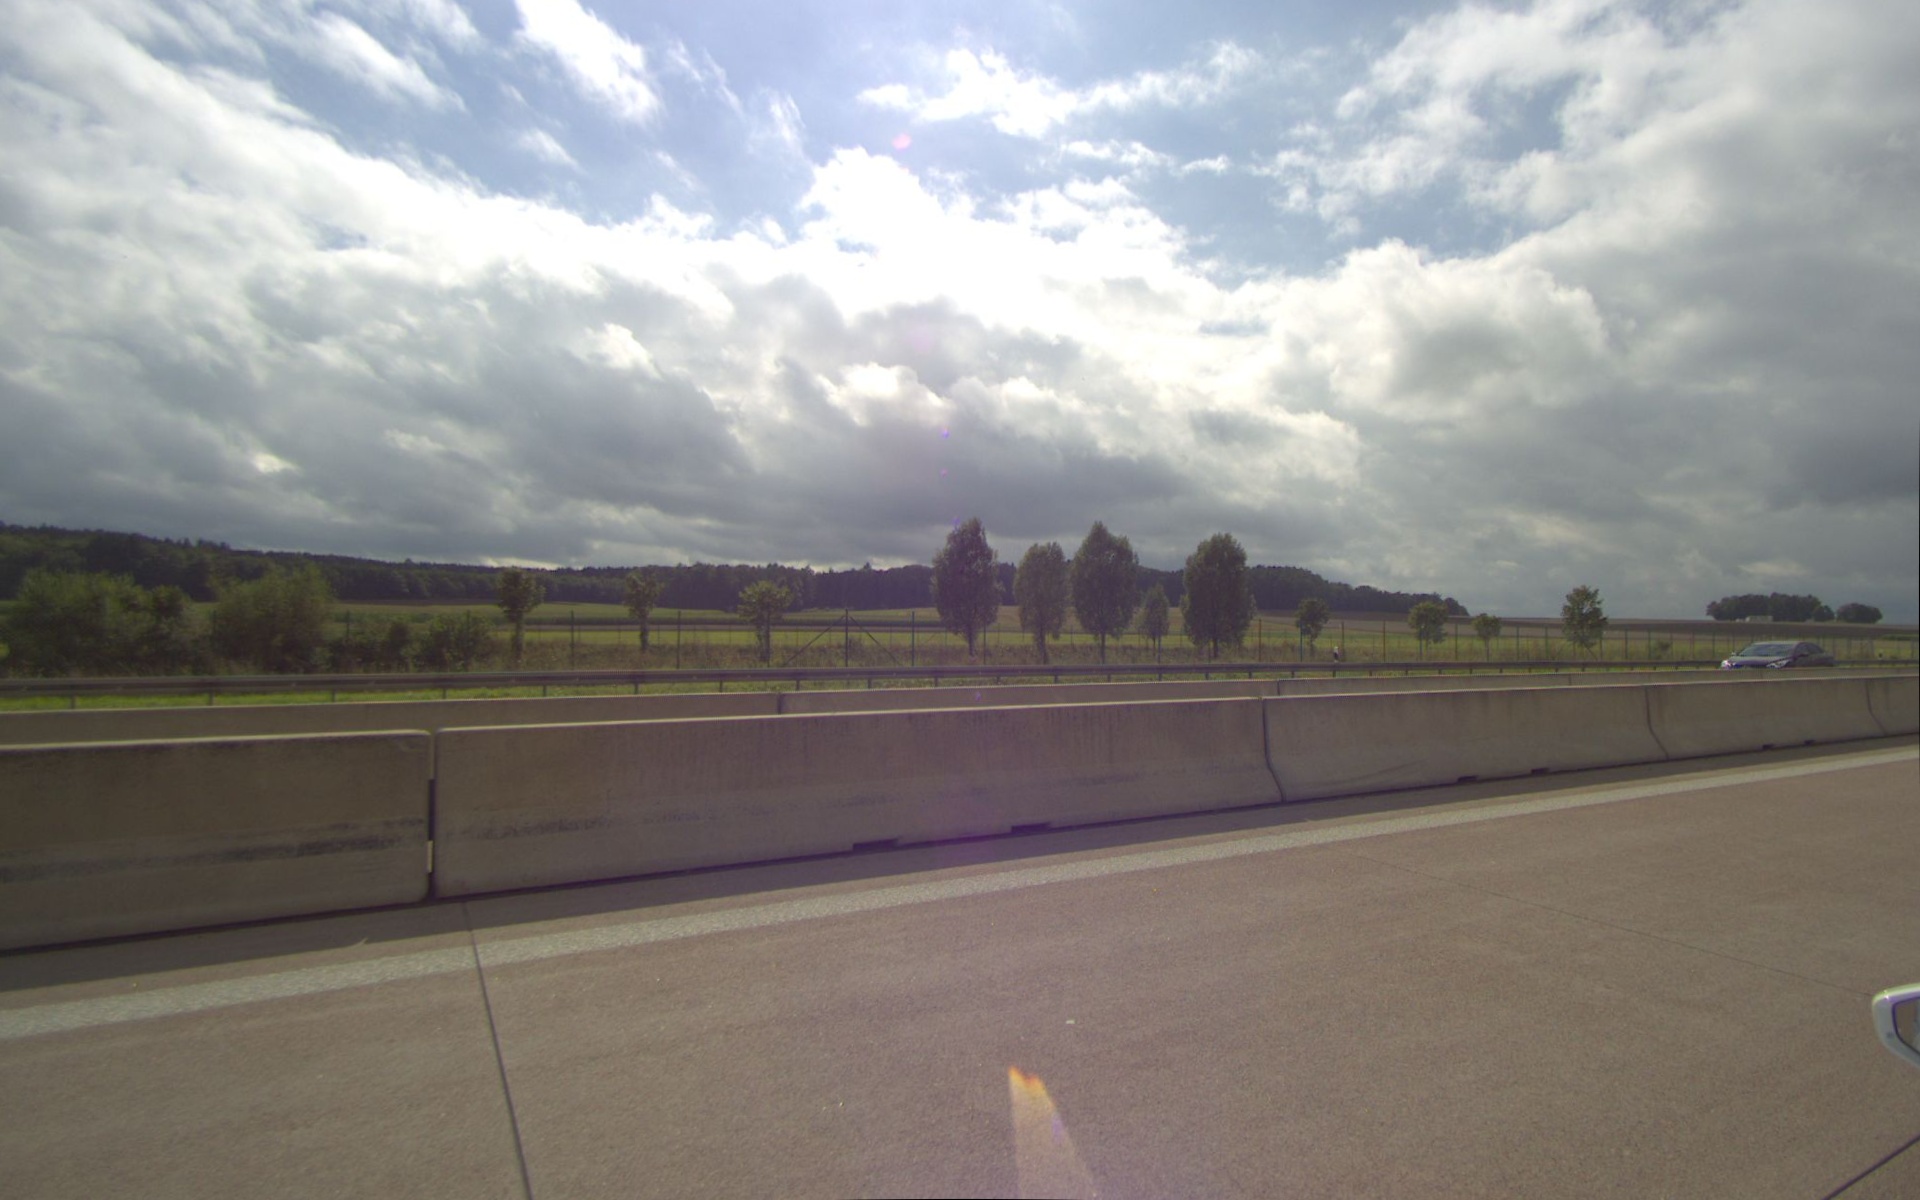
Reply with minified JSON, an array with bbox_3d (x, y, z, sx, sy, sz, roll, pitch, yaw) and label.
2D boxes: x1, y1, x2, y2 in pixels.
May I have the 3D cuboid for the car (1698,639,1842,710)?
[{"bbox_3d":[26.270,2.367,32.526,4.993,2.040,1.976,2,0,-31],"label":"car"}]
